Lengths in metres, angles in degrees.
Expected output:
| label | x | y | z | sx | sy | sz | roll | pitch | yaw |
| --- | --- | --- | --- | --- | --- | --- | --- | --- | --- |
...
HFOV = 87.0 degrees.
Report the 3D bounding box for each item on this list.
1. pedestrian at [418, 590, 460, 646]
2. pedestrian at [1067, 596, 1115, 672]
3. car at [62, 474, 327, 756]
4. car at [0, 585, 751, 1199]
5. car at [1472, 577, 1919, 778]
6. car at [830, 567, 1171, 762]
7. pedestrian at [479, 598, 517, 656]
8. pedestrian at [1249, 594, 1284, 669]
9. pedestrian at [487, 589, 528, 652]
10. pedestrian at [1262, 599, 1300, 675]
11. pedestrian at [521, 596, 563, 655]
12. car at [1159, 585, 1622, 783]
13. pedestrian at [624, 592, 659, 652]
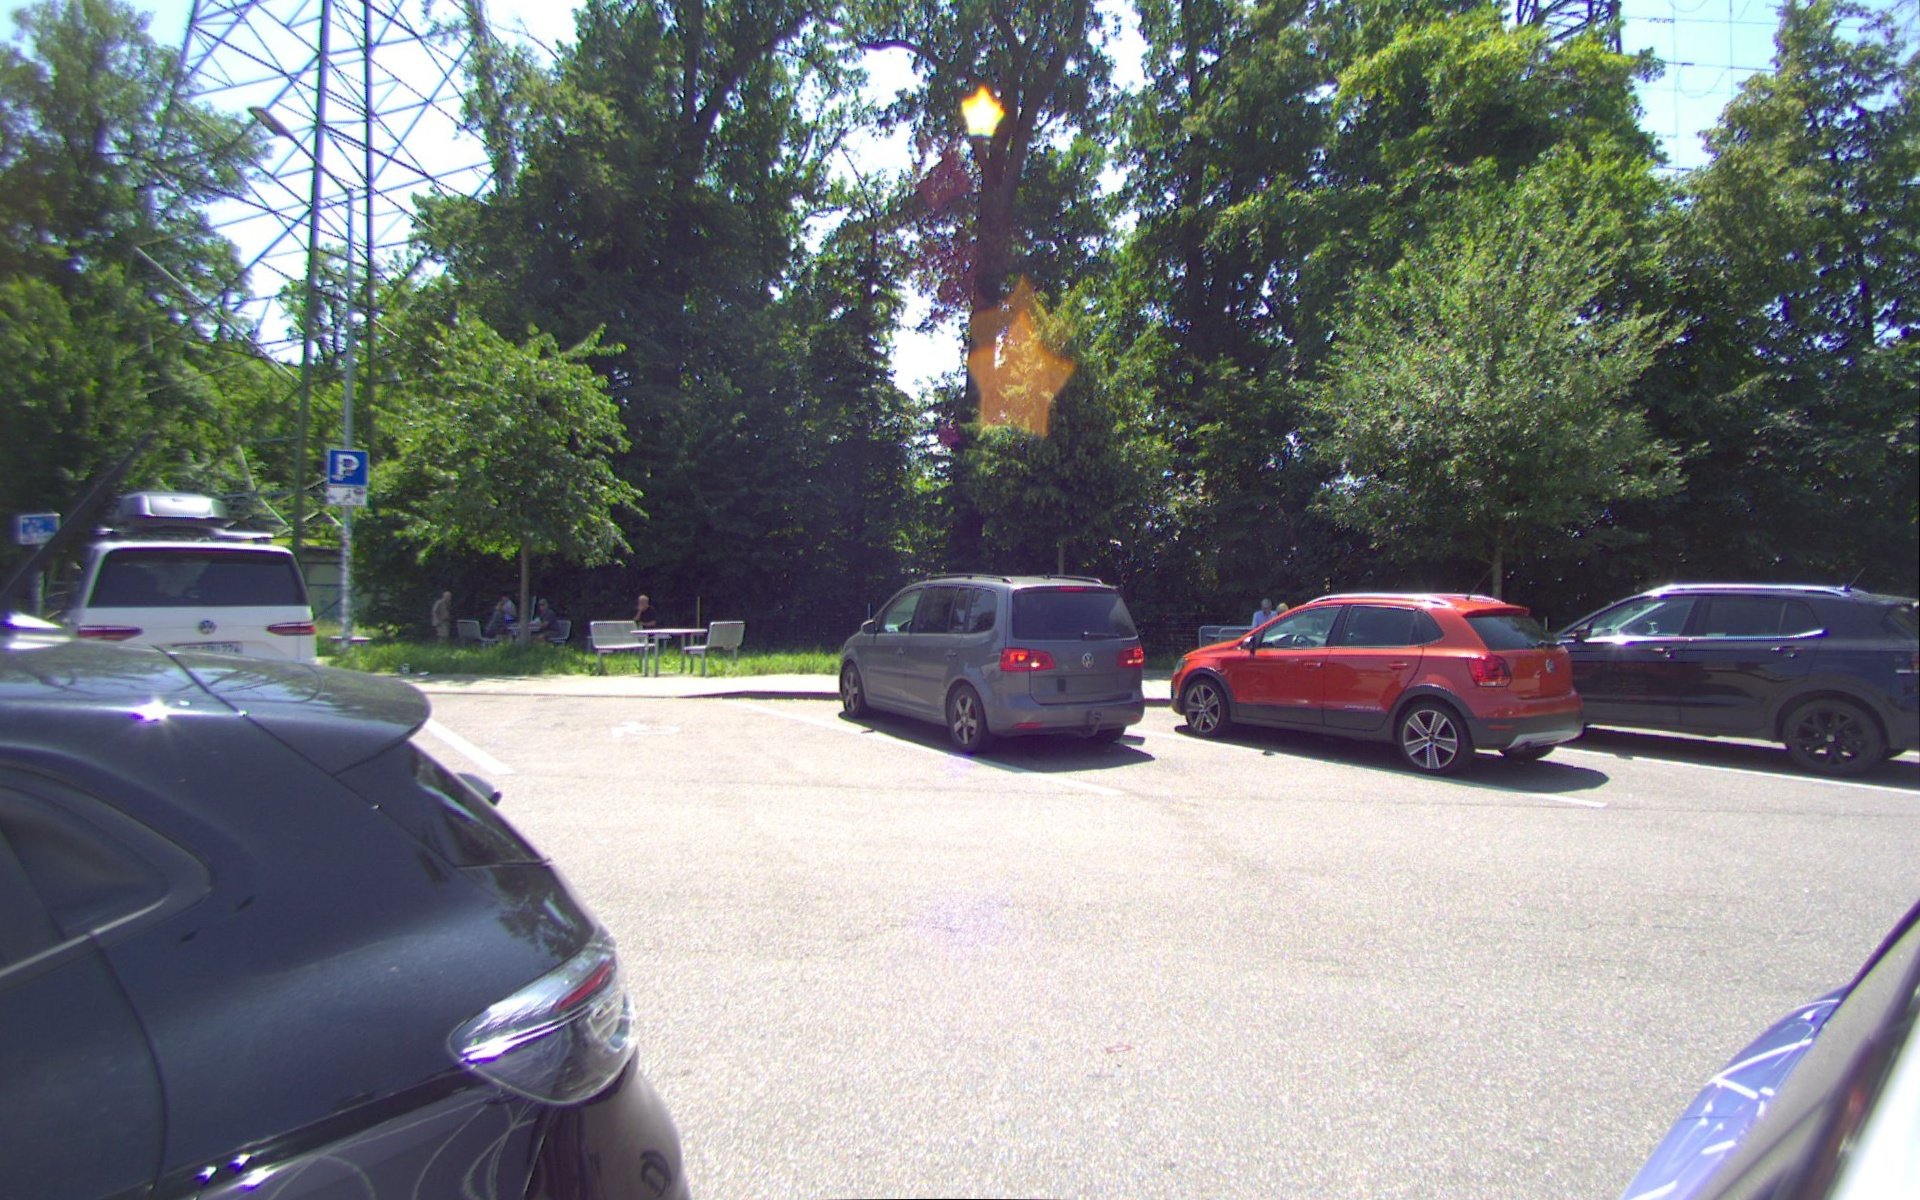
| label | x | y | z | sx | sy | sz | roll | pitch | yaw |
| --- | --- | --- | --- | --- | --- | --- | --- | --- | --- |
| pedestrian | -13.124 | 0.446 | 25.497 | 0.602 | 1.391 | 0.701 | 0 | -1 | 29 |
| pedestrian | 2.170 | 0.562 | 16.834 | 0.660 | 1.235 | 0.682 | 1 | -2 | -5 |
| car | -8.082 | 0.088 | 10.623 | 1.885 | 2.353 | 4.089 | 0 | 1 | -40 |
| car | -2.144 | 0.719 | 0.584 | 1.615 | 1.503 | 3.706 | 0 | -1 | 44 |
| car | 7.222 | 0.577 | 9.671 | 1.727 | 1.566 | 3.806 | 0 | 1 | -39 |
| car | 0.208 | 0.500 | 10.551 | 1.717 | 1.611 | 3.961 | 0 | 1 | -30 |
| pedestrian | -10.450 | 0.594 | 22.877 | 0.630 | 1.287 | 0.579 | 1 | -1 | -39 |
| pedestrian | 5.753 | 0.589 | 19.016 | 0.495 | 1.393 | 0.491 | 1 | -1 | 0 |
| pedestrian | -10.962 | 0.486 | 24.511 | 0.722 | 1.478 | 0.669 | 1 | -1 | -39 |
| pedestrian | 5.672 | 0.639 | 17.892 | 0.495 | 1.316 | 0.491 | 1 | -1 | 0 |
| pedestrian | -9.730 | 0.578 | 23.574 | 0.722 | 1.343 | 0.669 | 1 | -1 | -39 |
| car | 3.844 | 0.606 | 9.648 | 1.604 | 1.476 | 3.810 | 0 | 1 | -34 |
| pedestrian | -6.672 | 0.461 | 21.215 | 0.550 | 1.229 | 0.599 | 1 | -1 | -1 |
